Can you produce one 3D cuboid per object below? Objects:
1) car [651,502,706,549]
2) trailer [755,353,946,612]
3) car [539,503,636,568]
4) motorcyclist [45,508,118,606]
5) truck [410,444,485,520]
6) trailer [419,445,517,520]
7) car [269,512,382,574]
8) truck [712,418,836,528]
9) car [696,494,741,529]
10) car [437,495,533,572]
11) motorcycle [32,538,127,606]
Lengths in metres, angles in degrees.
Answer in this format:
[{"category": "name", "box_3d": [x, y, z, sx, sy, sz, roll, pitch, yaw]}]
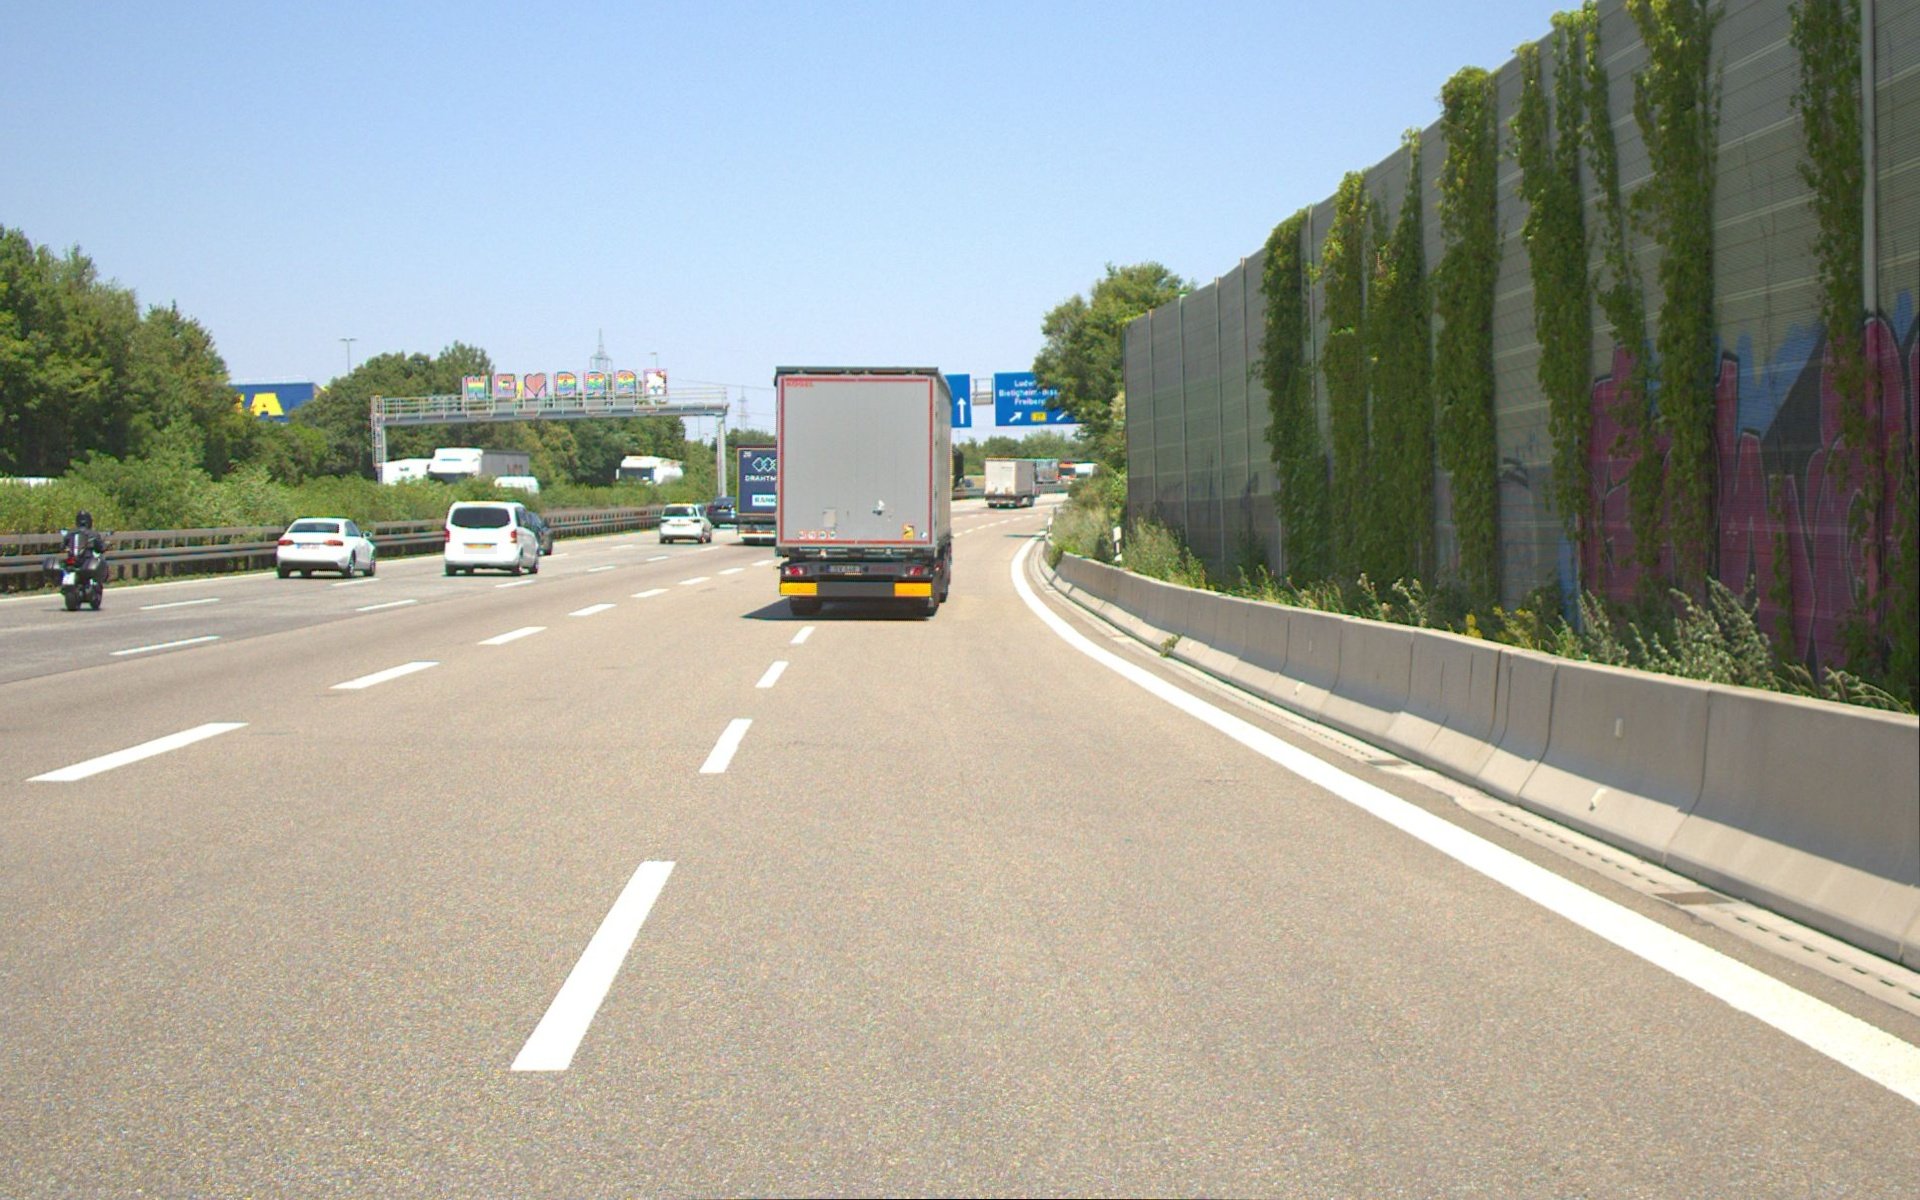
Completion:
[{"category": "car", "box_3d": [-11.524, -3.054, 140.967, 1.904, 1.845, 4.631, -1, 1, 0]}, {"category": "trailer", "box_3d": [-1.778, -1.949, 59.535, 2.928, 4.001, 12.039, -1, 1, -1]}, {"category": "car", "box_3d": [-10.542, -1.811, 97.705, 1.877, 1.800, 5.125, 0, 1, 4]}, {"category": "motorcyclist", "box_3d": [-14.438, -0.714, 56.531, 0.893, 1.591, 1.299, 0, 1, -2]}, {"category": "truck", "box_3d": [-28.133, -6.470, 188.996, 3.332, 4.075, 4.828, 1, 1, 1]}, {"category": "trailer", "box_3d": [-28.017, -6.676, 196.321, 3.392, 4.075, 13.928, 1, 2, 1]}, {"category": "car", "box_3d": [-15.286, -1.363, 83.070, 1.876, 1.435, 5.126, 0, 1, -1]}, {"category": "truck", "box_3d": [-7.556, -5.242, 142.195, 3.747, 4.255, 14.496, 1, 2, 2]}, {"category": "car", "box_3d": [-12.706, -4.646, 180.794, 1.904, 1.711, 4.631, -1, 0, 1]}, {"category": "car", "box_3d": [-12.045, -1.667, 87.472, 1.930, 1.845, 4.692, -1, 0, -2]}, {"category": "motorcycle", "box_3d": [-14.437, -0.464, 56.451, 0.912, 1.085, 2.850, 0, 1, -2]}]
